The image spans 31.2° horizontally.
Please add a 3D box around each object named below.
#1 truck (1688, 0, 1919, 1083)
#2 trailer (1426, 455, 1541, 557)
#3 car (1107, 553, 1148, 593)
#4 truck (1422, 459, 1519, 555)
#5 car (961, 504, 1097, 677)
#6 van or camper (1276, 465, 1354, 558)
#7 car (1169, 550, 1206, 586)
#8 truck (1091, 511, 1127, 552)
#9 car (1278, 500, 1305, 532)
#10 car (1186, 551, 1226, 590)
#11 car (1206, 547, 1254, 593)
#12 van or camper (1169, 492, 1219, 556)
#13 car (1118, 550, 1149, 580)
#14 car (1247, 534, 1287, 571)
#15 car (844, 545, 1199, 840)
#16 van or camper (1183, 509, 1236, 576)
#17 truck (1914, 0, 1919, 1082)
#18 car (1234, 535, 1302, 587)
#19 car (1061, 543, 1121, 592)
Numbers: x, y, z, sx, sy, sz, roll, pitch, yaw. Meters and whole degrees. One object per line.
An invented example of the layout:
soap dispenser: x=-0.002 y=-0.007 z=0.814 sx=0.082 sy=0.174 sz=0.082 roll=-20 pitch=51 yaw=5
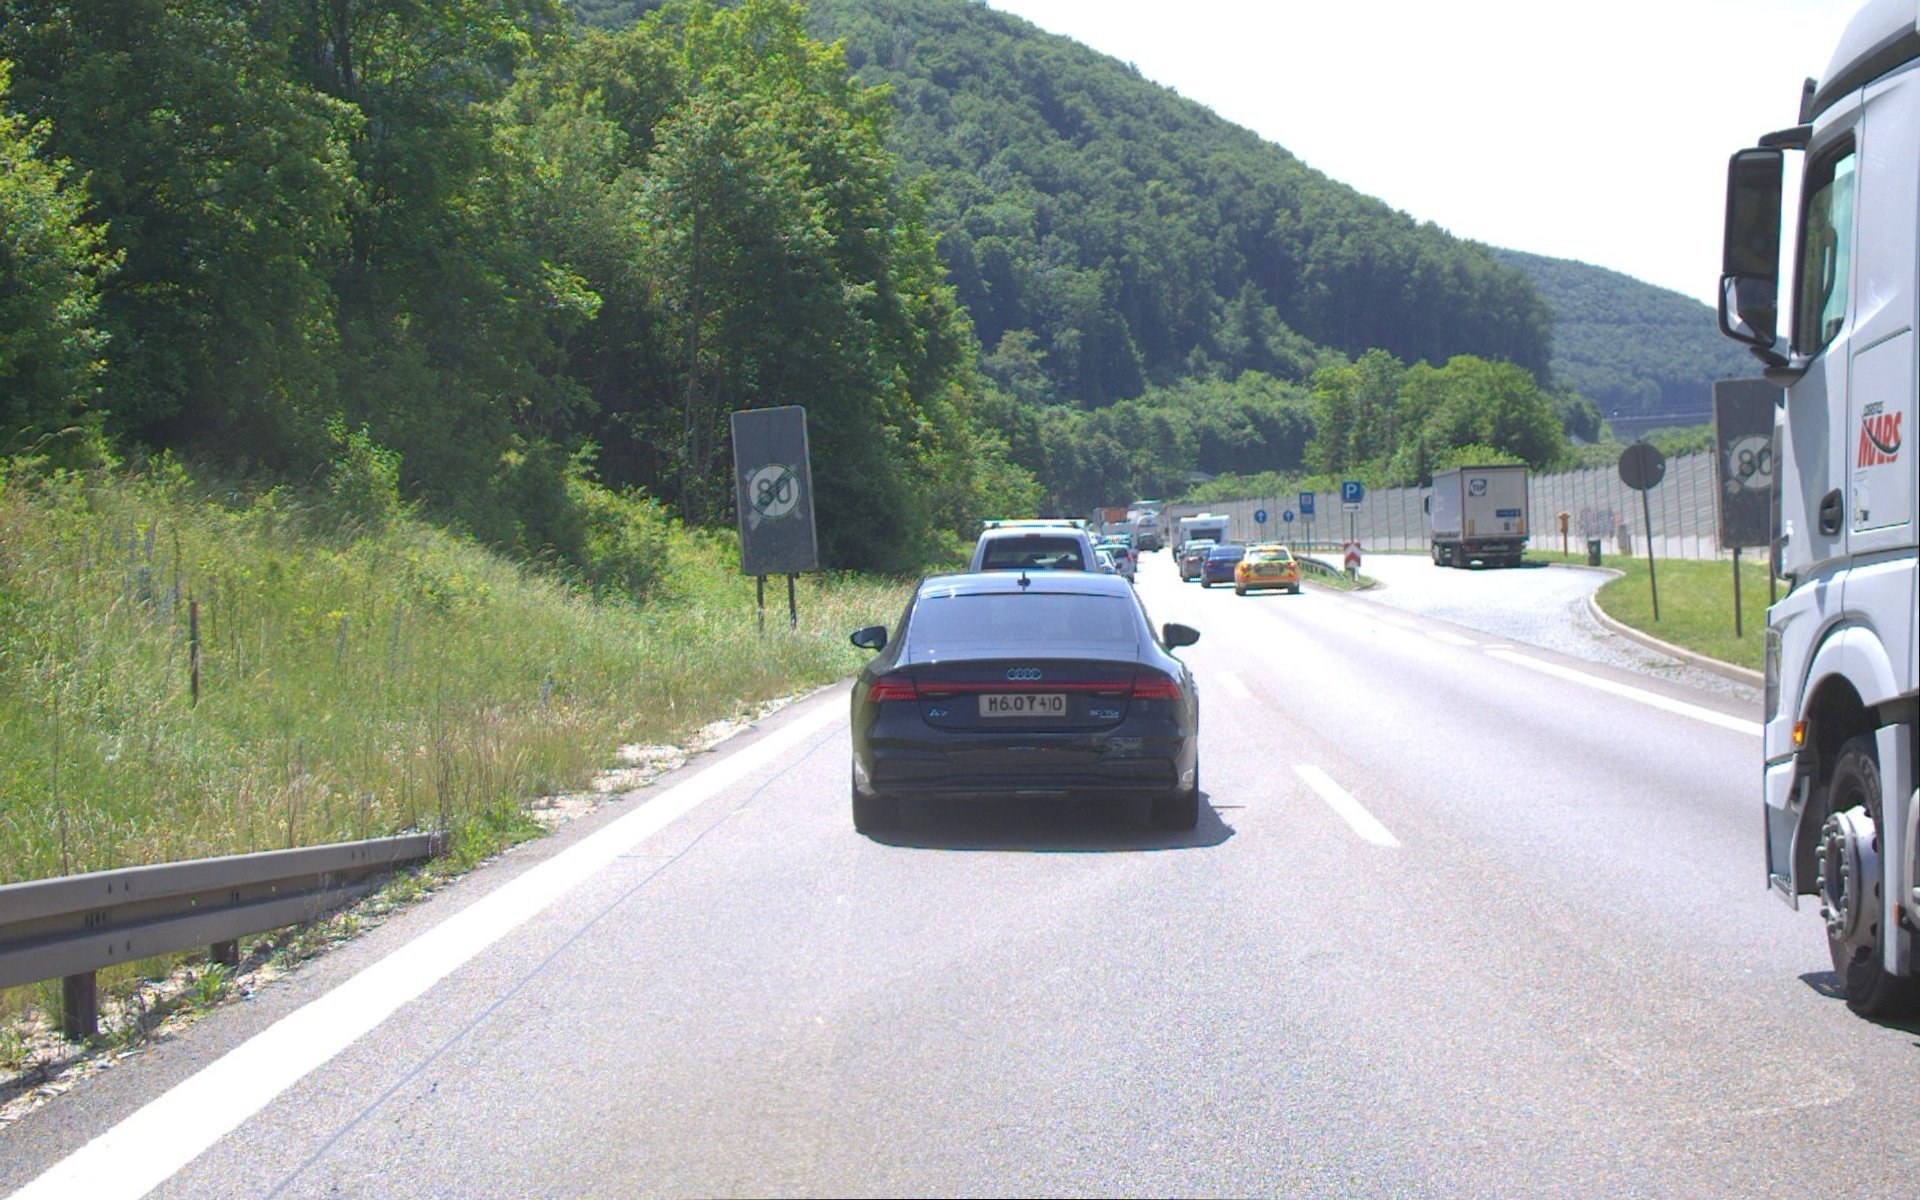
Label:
truck: x=4.113 y=-0.642 z=9.866 sx=2.719 sy=4.054 sz=5.754 roll=0 pitch=0 yaw=-1
trailer: x=20.896 y=-3.724 z=137.815 sx=3.412 sy=3.887 sz=11.150 roll=-1 pitch=1 yaw=3
car: x=6.831 y=-1.105 z=140.225 sx=1.521 sy=1.548 sz=3.514 roll=1 pitch=1 yaw=5
truck: x=21.192 y=-3.838 z=142.908 sx=3.412 sy=3.887 sz=5.387 roll=-1 pitch=1 yaw=3
car: x=0.801 y=-0.130 z=41.532 sx=1.521 sy=1.961 sz=3.514 roll=1 pitch=1 yaw=0
van or camper: x=15.212 y=-3.773 z=147.519 sx=2.795 sy=3.828 sz=6.167 roll=1 pitch=0 yaw=1
car: x=12.788 y=-1.790 z=193.132 sx=1.994 sy=2.007 sz=4.000 roll=1 pitch=0 yaw=3
truck: x=9.882 y=-4.486 z=227.169 sx=2.065 sy=2.597 sz=5.613 roll=1 pitch=1 yaw=5
car: x=21.862 y=-5.528 z=226.837 sx=1.576 sy=2.007 sz=3.428 roll=-1 pitch=1 yaw=3
car: x=9.785 y=-1.154 z=136.727 sx=1.530 sy=1.520 sz=3.596 roll=1 pitch=0 yaw=3
car: x=9.171 y=-1.019 z=116.854 sx=1.530 sy=1.520 sz=3.596 roll=1 pitch=0 yaw=3
van or camper: x=14.540 y=-4.698 z=213.818 sx=2.795 sy=3.894 sz=6.167 roll=1 pitch=0 yaw=1
car: x=9.072 y=-1.832 z=179.374 sx=1.521 sy=1.548 sz=3.514 roll=1 pitch=1 yaw=4
car: x=17.208 y=-2.670 z=192.786 sx=1.994 sy=2.007 sz=4.000 roll=-1 pitch=1 yaw=2
car: x=0.394 y=0.447 z=19.336 sx=1.812 sy=1.509 sz=3.514 roll=0 pitch=1 yaw=3
van or camper: x=11.975 y=-2.729 z=165.255 sx=2.429 sy=3.144 sz=5.203 roll=1 pitch=0 yaw=3
truck: x=4.241 y=-0.613 z=3.058 sx=2.726 sy=4.054 sz=13.742 roll=0 pitch=0 yaw=-1
car: x=9.138 y=-1.162 z=102.378 sx=1.879 sy=1.493 sz=4.000 roll=-1 pitch=1 yaw=3
car: x=3.590 y=-0.903 z=94.710 sx=1.521 sy=1.290 sz=3.514 roll=2 pitch=1 yaw=1
